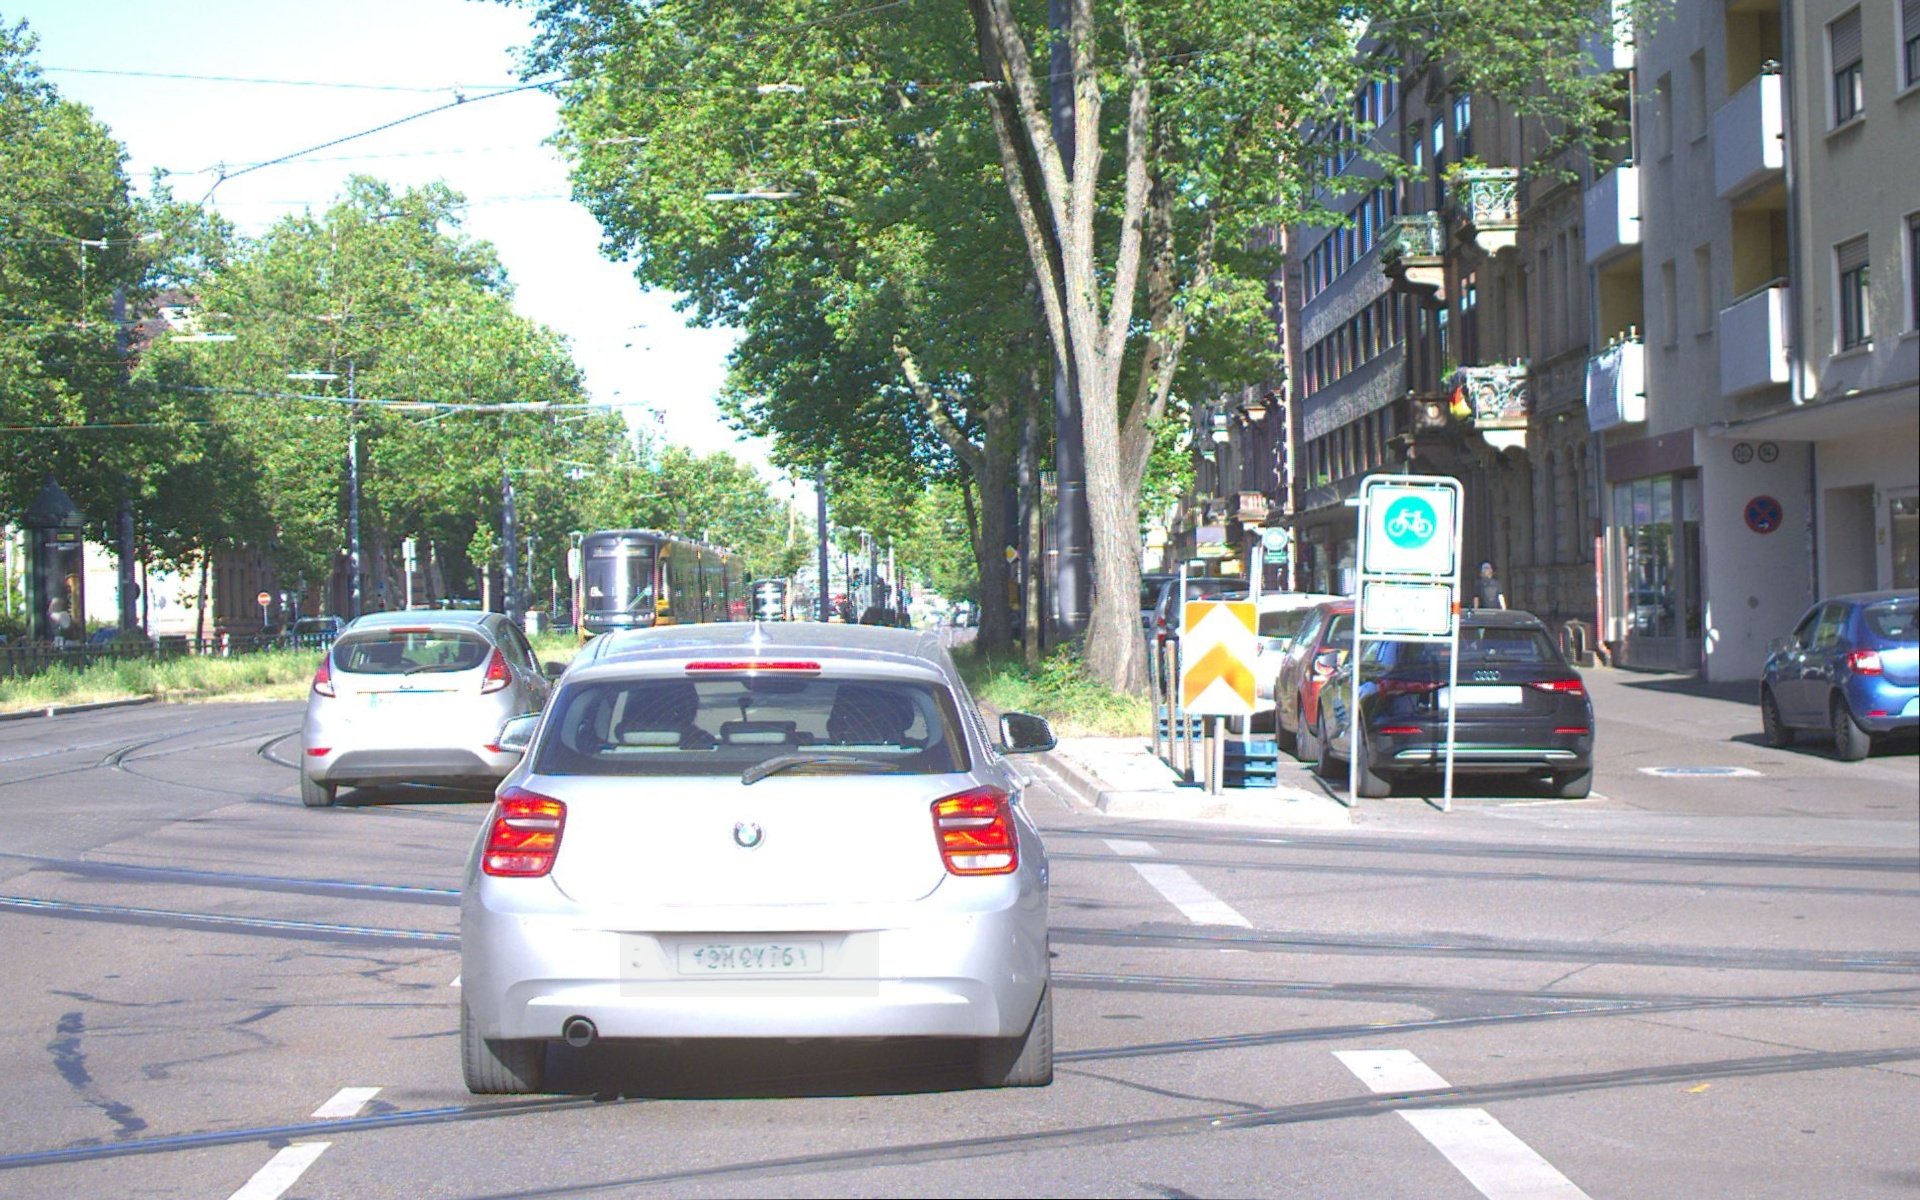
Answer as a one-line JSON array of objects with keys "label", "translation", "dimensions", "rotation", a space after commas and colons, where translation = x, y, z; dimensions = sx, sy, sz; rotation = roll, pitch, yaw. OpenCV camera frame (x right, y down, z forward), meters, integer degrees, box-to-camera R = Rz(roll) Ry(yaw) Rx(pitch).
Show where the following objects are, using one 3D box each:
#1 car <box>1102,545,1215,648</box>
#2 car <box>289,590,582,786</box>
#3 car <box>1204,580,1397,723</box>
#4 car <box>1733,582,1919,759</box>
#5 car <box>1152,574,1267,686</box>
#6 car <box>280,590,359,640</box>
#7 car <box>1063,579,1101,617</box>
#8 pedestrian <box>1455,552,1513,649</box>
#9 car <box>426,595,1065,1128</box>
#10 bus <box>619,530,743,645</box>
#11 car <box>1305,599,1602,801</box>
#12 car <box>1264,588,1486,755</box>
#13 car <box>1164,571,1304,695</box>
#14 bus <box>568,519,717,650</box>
[{"label": "car", "translation": [3.636, -0.079, 63.736], "dimensions": [1.865, 1.809, 4.799], "rotation": [1, 1, 1]}, {"label": "car", "translation": [-3.980, 0.628, 26.608], "dimensions": [1.647, 1.358, 3.760], "rotation": [1, 1, 0]}, {"label": "car", "translation": [3.736, 0.536, 38.277], "dimensions": [1.625, 1.472, 3.698], "rotation": [1, 1, -2]}, {"label": "car", "translation": [8.816, 0.625, 32.925], "dimensions": [1.693, 1.475, 4.000], "rotation": [-3, 1, -2]}, {"label": "car", "translation": [3.444, 0.384, 47.817], "dimensions": [1.512, 1.475, 3.491], "rotation": [1, 1, 3]}, {"label": "car", "translation": [-21.826, 0.483, 117.328], "dimensions": [1.885, 1.614, 4.598], "rotation": [1, 1, -1]}, {"label": "car", "translation": [6.284, -0.116, 177.599], "dimensions": [1.754, 1.958, 4.737], "rotation": [-1, 0, 0]}, {"label": "pedestrian", "translation": [10.021, 0.014, 65.717], "dimensions": [0.999, 1.834, 0.715], "rotation": [-1, 0, 2]}, {"label": "car", "translation": [-0.621, 0.727, 11.584], "dimensions": [1.762, 1.427, 4.000], "rotation": [1, 1, -1]}, {"label": "bus", "translation": [-8.796, -0.408, 109.819], "dimensions": [2.869, 3.432, 12.214], "rotation": [-1, 0, 0]}, {"label": "car", "translation": [3.816, 0.729, 27.203], "dimensions": [1.696, 1.416, 4.169], "rotation": [1, 1, 0]}, {"label": "car", "translation": [3.845, 0.624, 32.378], "dimensions": [1.589, 1.429, 3.905], "rotation": [1, 1, 0]}, {"label": "car", "translation": [3.432, 0.384, 43.495], "dimensions": [1.561, 1.480, 3.787], "rotation": [1, 1, 2]}, {"label": "bus", "translation": [-8.827, -0.444, 97.145], "dimensions": [2.869, 3.432, 13.217], "rotation": [-1, 0, 0]}]
